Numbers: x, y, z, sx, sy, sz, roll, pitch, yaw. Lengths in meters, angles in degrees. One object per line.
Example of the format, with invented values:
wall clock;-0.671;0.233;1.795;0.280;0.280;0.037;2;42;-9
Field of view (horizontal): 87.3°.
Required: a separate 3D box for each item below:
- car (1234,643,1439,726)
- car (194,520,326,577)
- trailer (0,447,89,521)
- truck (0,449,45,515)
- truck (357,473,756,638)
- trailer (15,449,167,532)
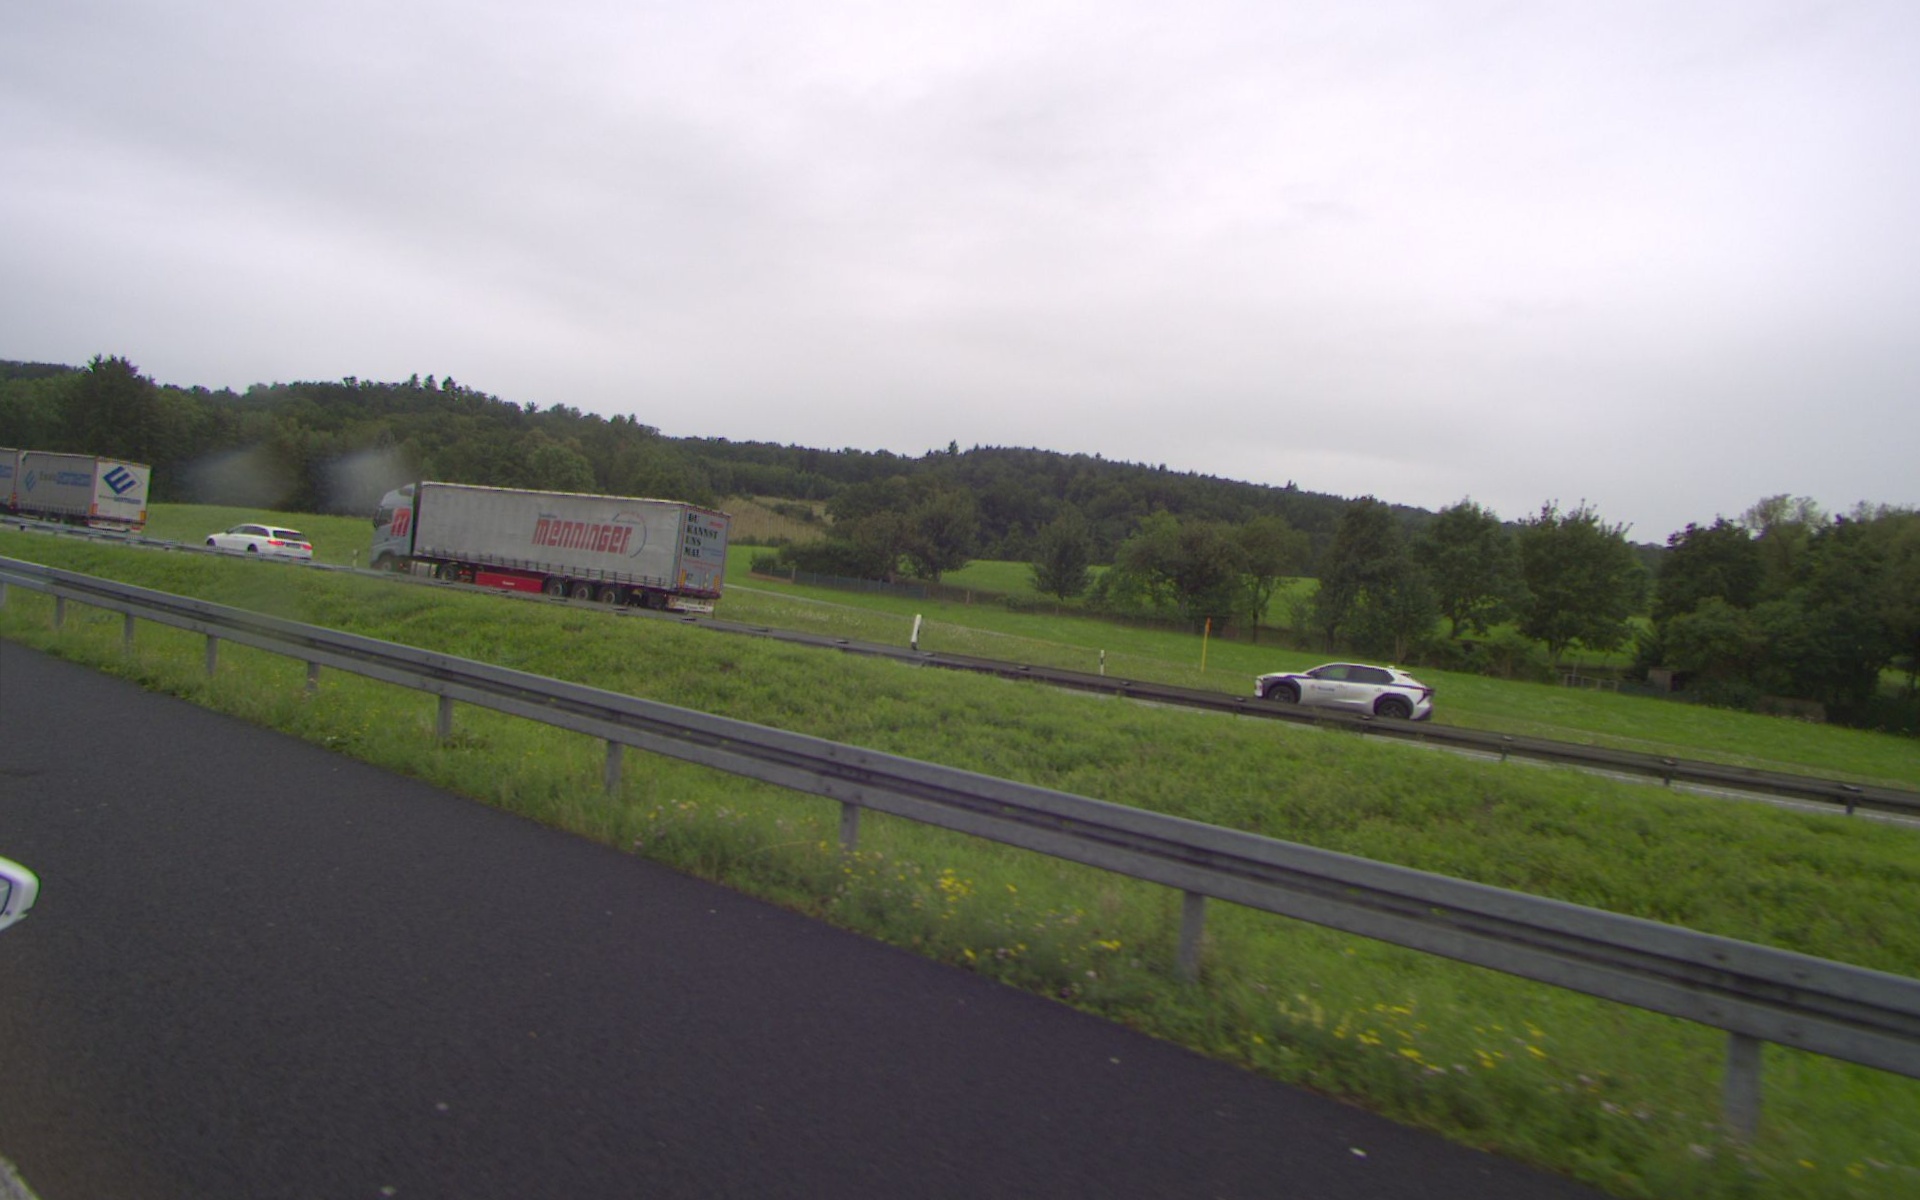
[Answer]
car;10.291;2.275;27.586;4.944;1.522;1.823;7;-1;28
car;-27.925;-2.063;40.107;4.988;1.636;1.999;7;-1;26
trailer;-55.392;-6.922;59.195;8.270;3.567;2.947;7;-2;26
truck;-58.911;-7.344;60.880;5.821;3.567;2.948;7;-2;25
truck;-15.925;-1.864;38.735;16.586;4.595;3.831;6;-1;26
trailer;-48.123;-6.067;55.697;7.940;3.567;3.089;7;-2;25
